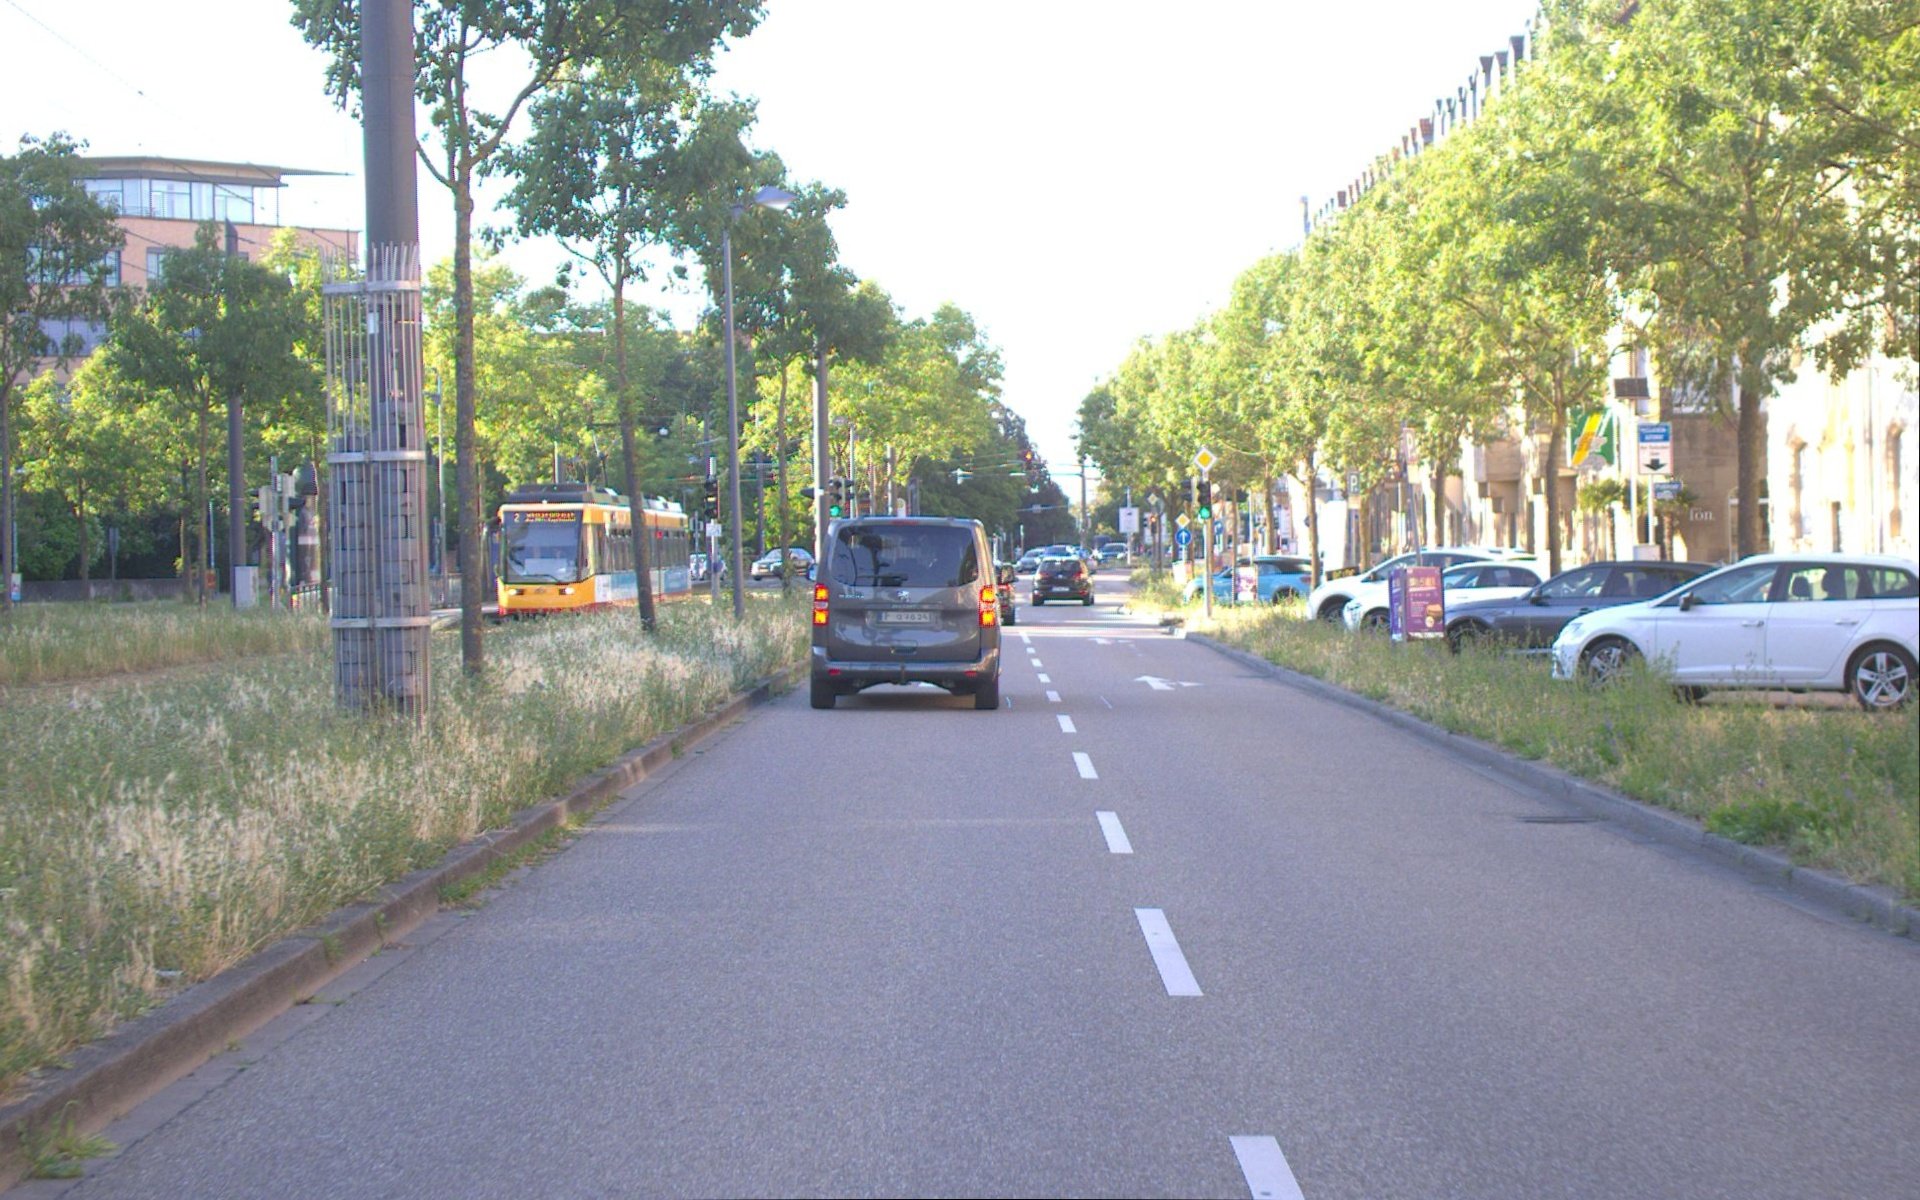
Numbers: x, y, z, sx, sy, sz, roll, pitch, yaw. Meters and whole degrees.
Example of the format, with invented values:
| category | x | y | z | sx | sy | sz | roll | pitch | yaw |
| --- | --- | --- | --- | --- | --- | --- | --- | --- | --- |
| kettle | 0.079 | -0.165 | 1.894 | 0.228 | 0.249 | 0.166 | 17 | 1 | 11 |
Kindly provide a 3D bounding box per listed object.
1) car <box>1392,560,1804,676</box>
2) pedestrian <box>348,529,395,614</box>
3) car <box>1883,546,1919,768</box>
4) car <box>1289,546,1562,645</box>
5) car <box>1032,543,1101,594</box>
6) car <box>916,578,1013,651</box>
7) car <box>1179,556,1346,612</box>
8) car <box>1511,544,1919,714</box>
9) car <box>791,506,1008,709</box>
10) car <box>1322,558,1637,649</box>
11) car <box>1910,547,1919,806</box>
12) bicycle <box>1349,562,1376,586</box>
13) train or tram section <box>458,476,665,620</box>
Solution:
| category | x | y | z | sx | sy | sz | roll | pitch | yaw |
| --- | --- | --- | --- | --- | --- | --- | --- | --- | --- |
| car | 7.772 | 0.196 | 42.039 | 4.577 | 1.343 | 1.892 | 0 | 1 | 34 |
| pedestrian | -13.978 | -0.686 | 81.701 | 0.934 | 2.007 | 0.957 | 0 | 0 | 1 |
| car | 8.253 | 0.387 | 21.443 | 4.431 | 1.412 | 1.881 | 1 | 2 | 37 |
| car | 8.234 | -0.114 | 60.951 | 4.427 | 1.685 | 1.912 | 1 | 1 | 36 |
| car | 3.192 | -0.959 | 103.552 | 1.993 | 1.505 | 4.000 | 1 | 1 | 1 |
| car | 0.072 | 0.295 | 76.002 | 1.993 | 1.505 | 4.000 | 1 | 1 | -2 |
| car | 8.406 | -0.461 | 95.573 | 4.281 | 1.517 | 1.843 | 1 | 1 | 34 |
| car | 7.667 | 0.241 | 32.137 | 4.641 | 1.505 | 1.843 | 0 | 1 | 36 |
| car | -0.546 | 0.044 | 34.883 | 1.993 | 1.894 | 4.299 | 1 | 1 | 1 |
| car | 8.282 | 0.050 | 54.928 | 4.548 | 1.395 | 2.027 | 0 | 0 | 32 |
| car | 7.438 | 0.441 | 18.753 | 4.046 | 1.432 | 1.724 | 1 | 0 | 29 |
| bicycle | 16.051 | -1.038 | 137.109 | 0.872 | 0.913 | 2.084 | -2 | 1 | 3 |
| train or tram section | -10.187 | -1.323 | 89.901 | 3.431 | 3.418 | 15.027 | 0 | 1 | 1 |
